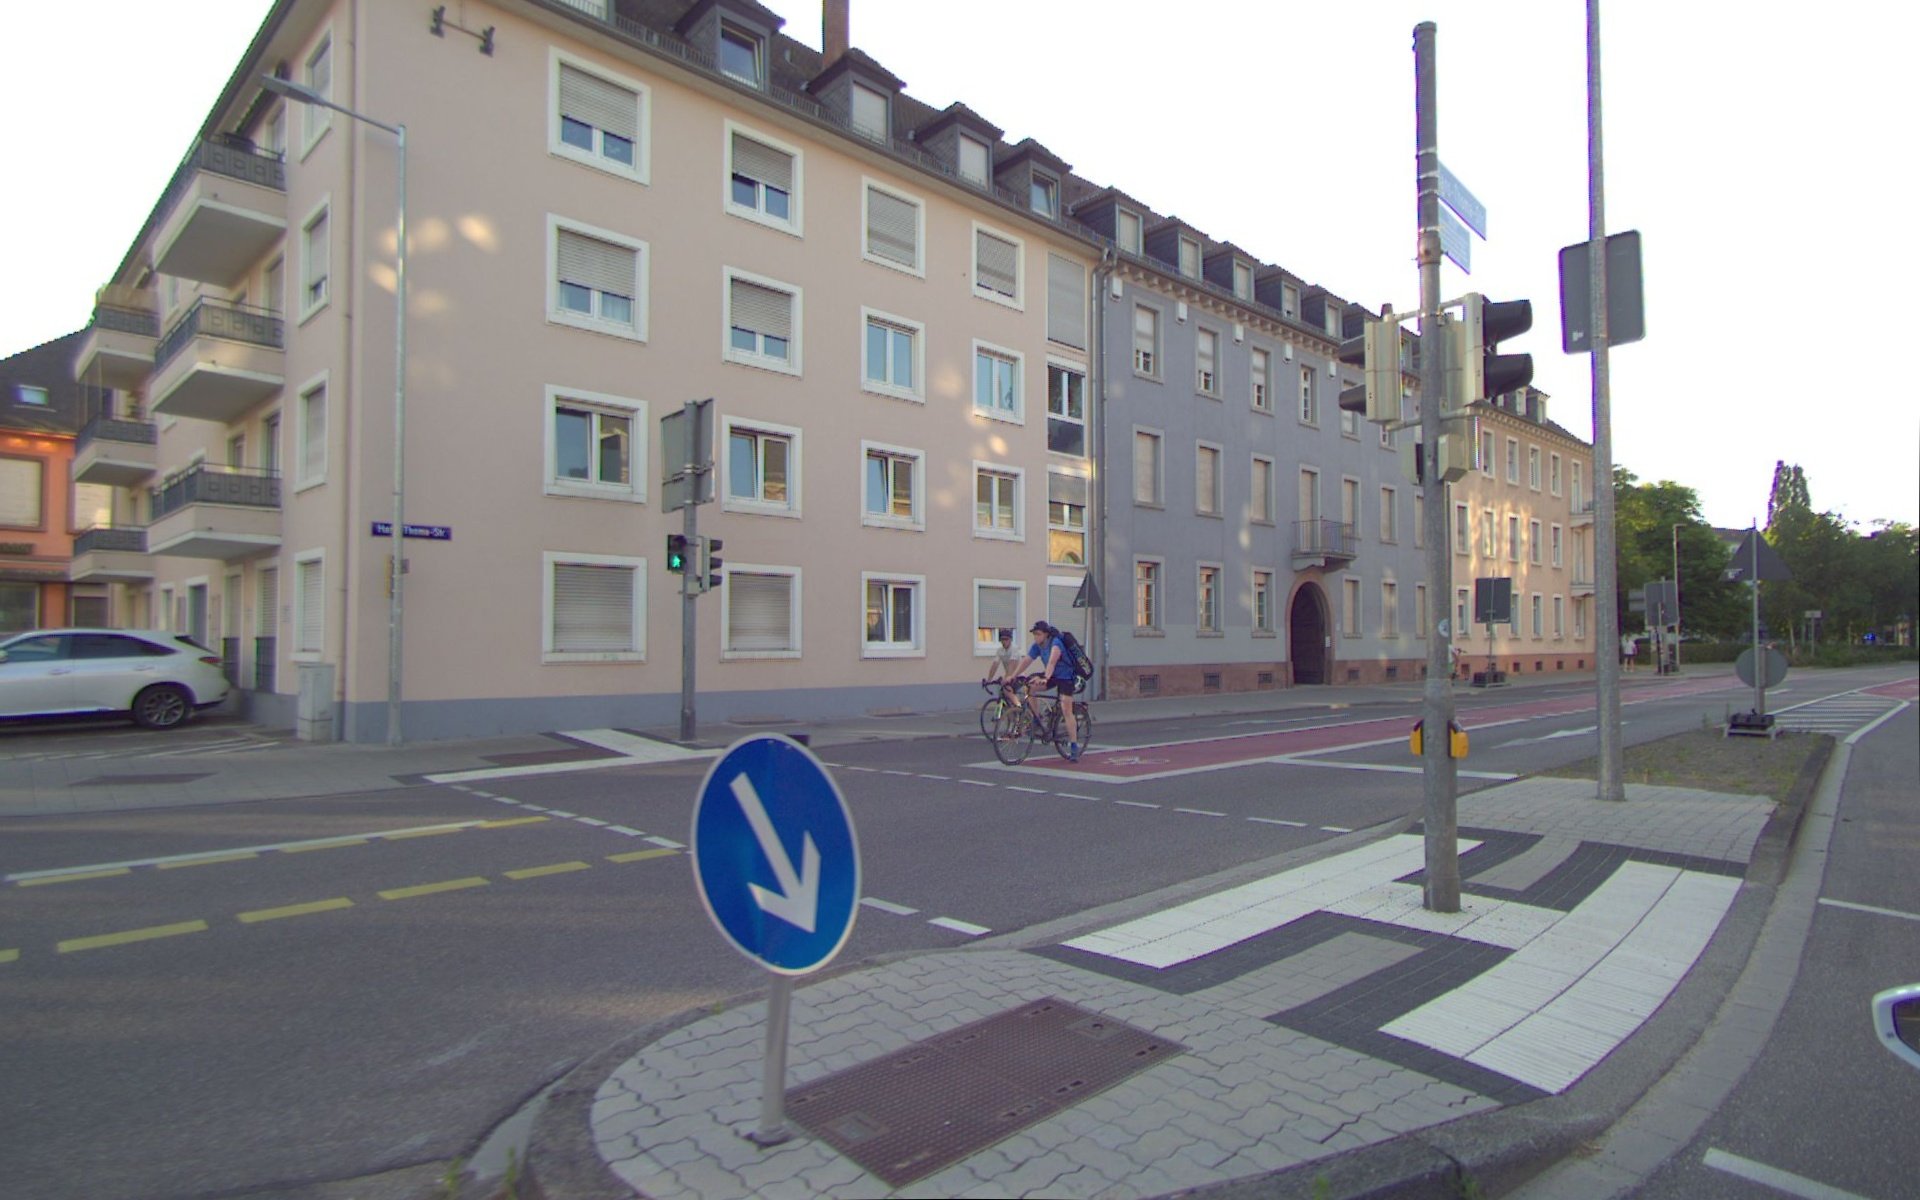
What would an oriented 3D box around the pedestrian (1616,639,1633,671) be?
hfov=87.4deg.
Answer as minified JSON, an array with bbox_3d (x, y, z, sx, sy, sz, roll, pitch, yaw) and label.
[{"bbox_3d":[33.828,2.780,51.144,0.608,1.595,0.721,-2,-3,41],"label":"pedestrian"}]

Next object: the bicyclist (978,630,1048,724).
[{"bbox_3d":[0.848,1.212,16.054,0.887,1.458,0.705,2,-3,-40],"label":"bicyclist"}]

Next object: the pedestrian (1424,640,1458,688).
[{"bbox_3d":[17.192,2.278,35.894,0.804,1.674,0.867,6,-5,-41],"label":"pedestrian"}]

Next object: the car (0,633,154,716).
[{"bbox_3d":[-19.938,1.572,21.117,1.888,1.626,4.409,-3,-2,41],"label":"car"}]

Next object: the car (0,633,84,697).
[{"bbox_3d":[-27.096,1.825,27.568,1.837,1.687,4.409,-3,-1,41],"label":"car"}]

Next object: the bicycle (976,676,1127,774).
[{"bbox_3d":[1.182,1.534,12.698,1.985,1.081,0.715,2,-3,-40],"label":"bicycle"}]

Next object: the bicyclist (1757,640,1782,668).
[{"bbox_3d":[47.312,3.130,58.727,0.855,1.617,0.754,-1,-2,9],"label":"bicyclist"}]

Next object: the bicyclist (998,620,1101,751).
[{"bbox_3d":[1.133,1.054,12.680,1.116,1.564,0.705,2,-3,-40],"label":"bicyclist"}]

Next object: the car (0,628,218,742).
[{"bbox_3d":[-14.920,1.353,16.226,1.914,1.662,4.431,-3,-2,41],"label":"car"}]

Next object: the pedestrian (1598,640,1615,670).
[{"bbox_3d":[33.368,2.843,51.863,0.608,1.554,0.687,-2,-3,41],"label":"pedestrian"}]

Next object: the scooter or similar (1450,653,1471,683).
[{"bbox_3d":[19.721,2.678,39.555,0.854,1.143,0.393,1,-3,-37],"label":"scooter or similar"}]

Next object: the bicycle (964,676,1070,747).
[{"bbox_3d":[0.930,1.752,16.097,1.675,1.023,0.715,2,-3,-40],"label":"bicycle"}]

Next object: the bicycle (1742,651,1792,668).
[{"bbox_3d":[47.173,3.486,58.725,2.150,0.941,0.774,-1,-2,10],"label":"bicycle"}]
